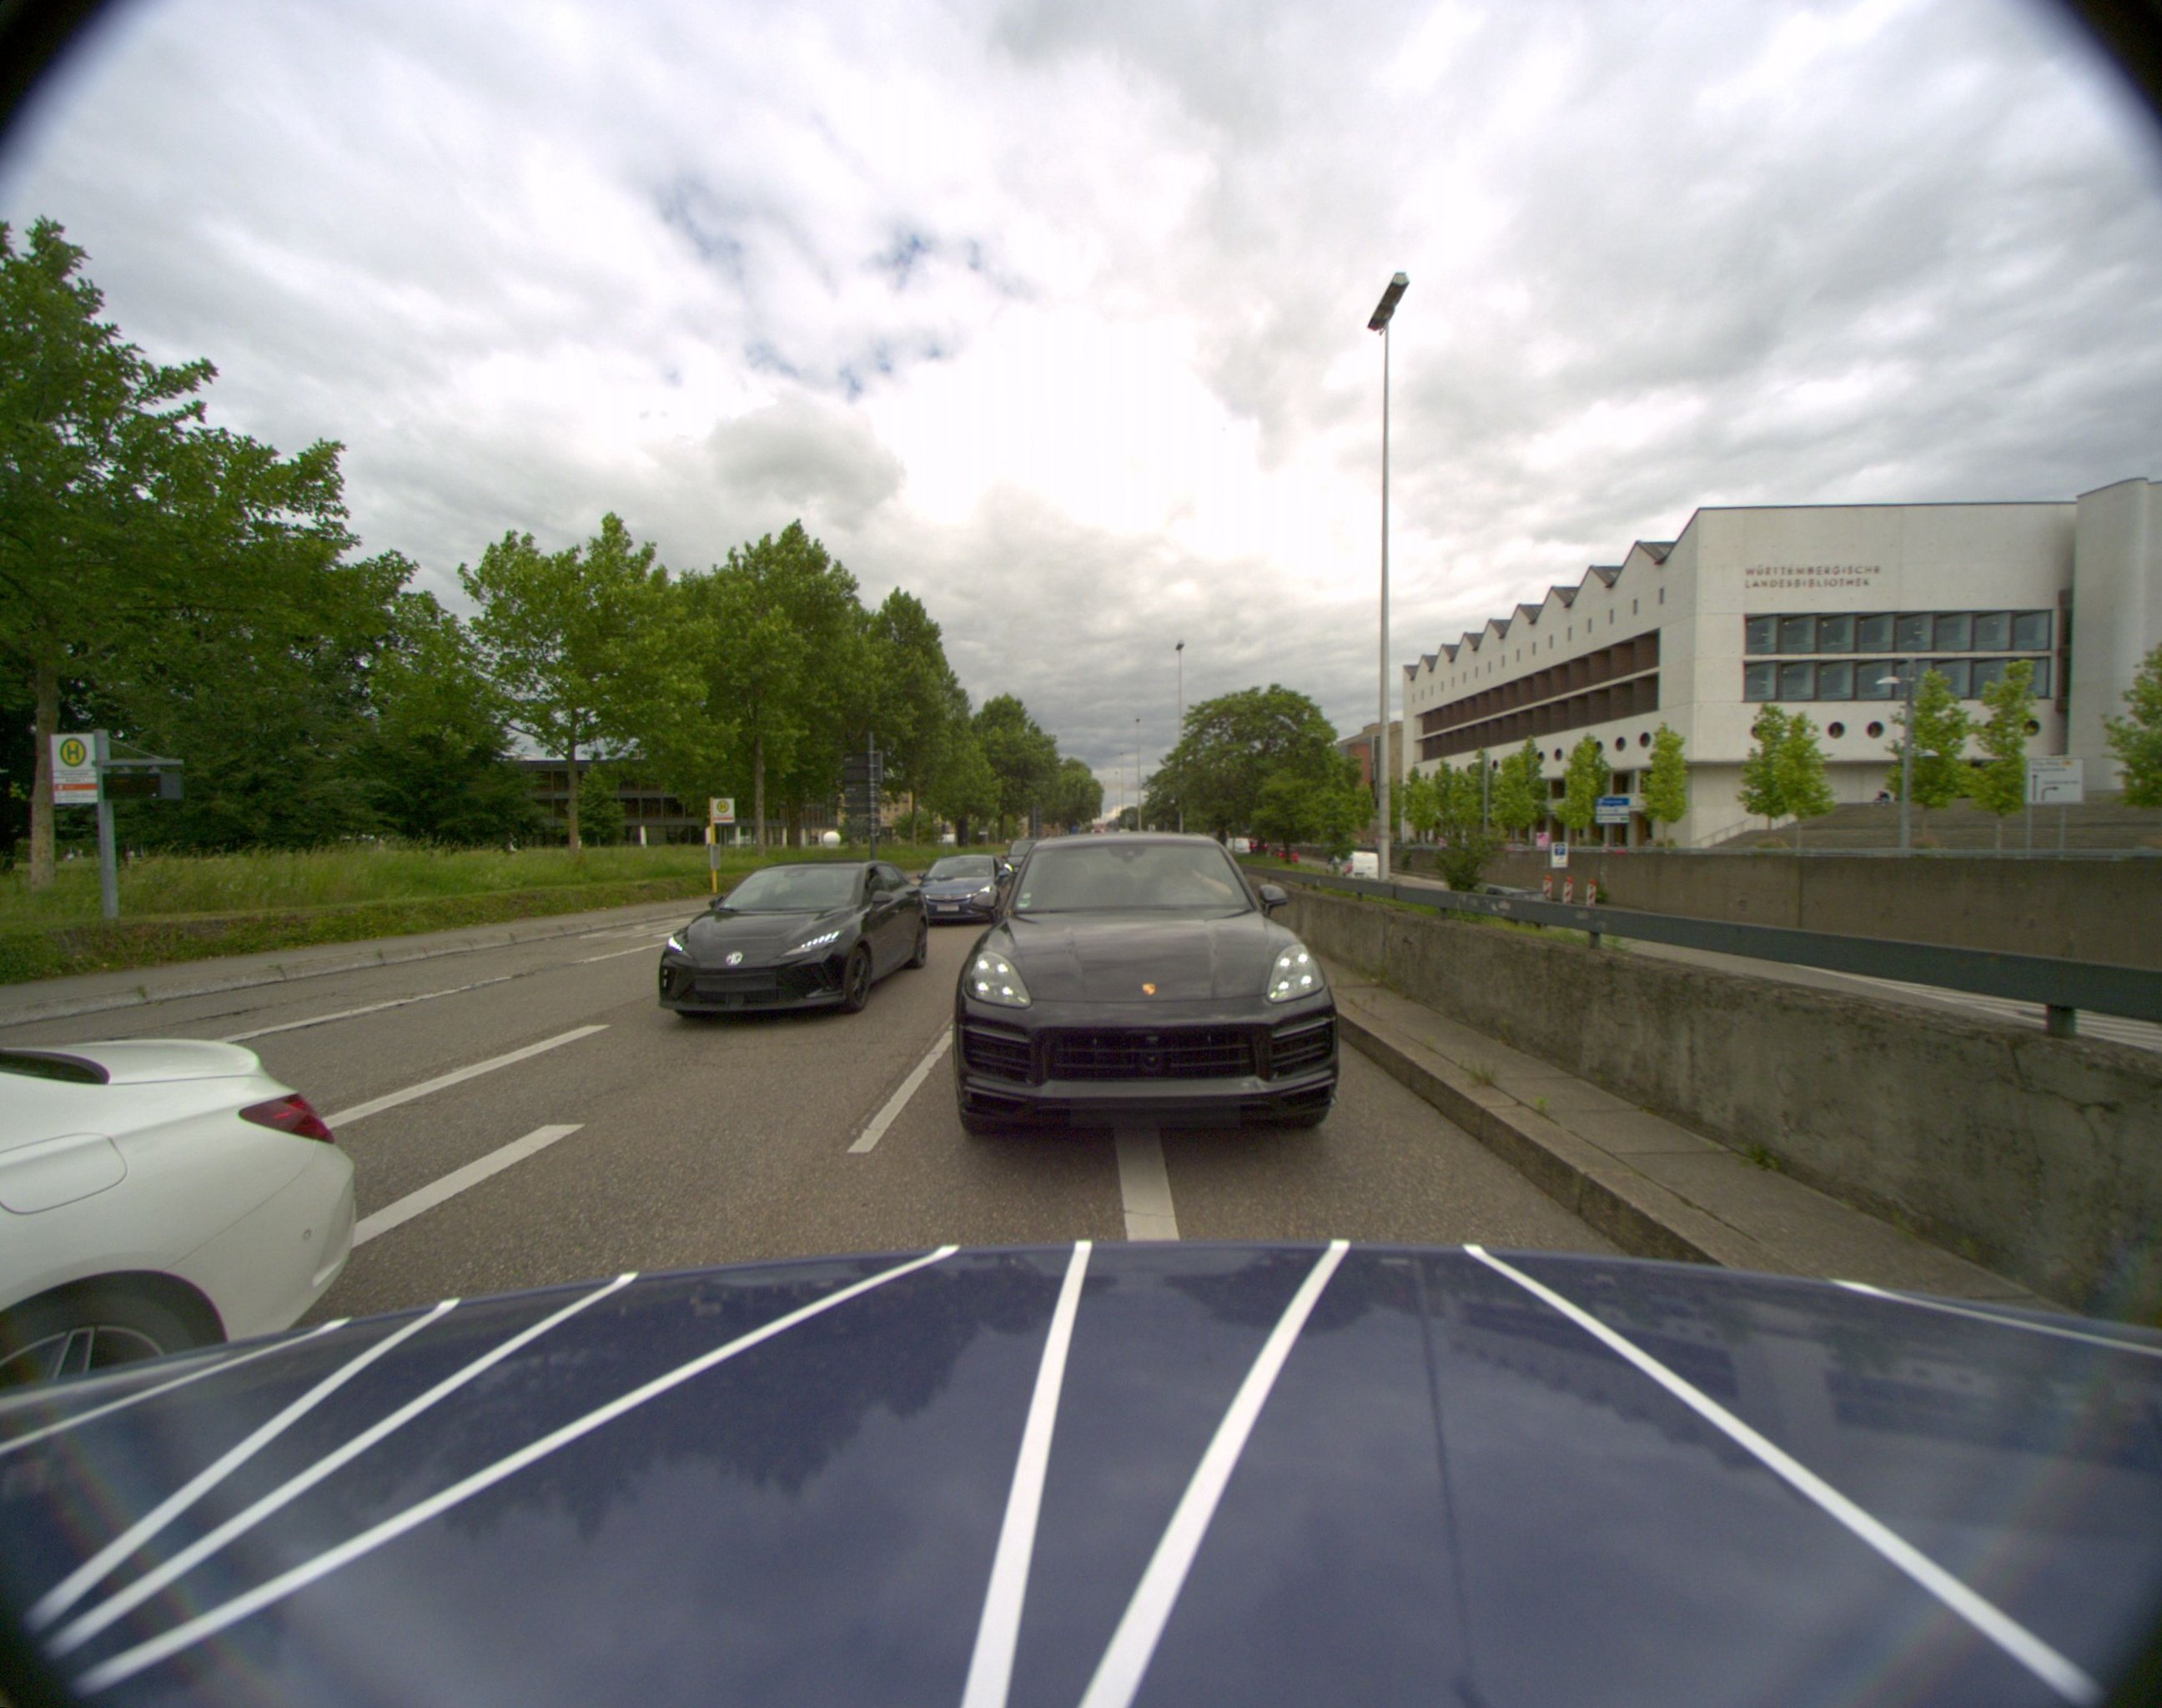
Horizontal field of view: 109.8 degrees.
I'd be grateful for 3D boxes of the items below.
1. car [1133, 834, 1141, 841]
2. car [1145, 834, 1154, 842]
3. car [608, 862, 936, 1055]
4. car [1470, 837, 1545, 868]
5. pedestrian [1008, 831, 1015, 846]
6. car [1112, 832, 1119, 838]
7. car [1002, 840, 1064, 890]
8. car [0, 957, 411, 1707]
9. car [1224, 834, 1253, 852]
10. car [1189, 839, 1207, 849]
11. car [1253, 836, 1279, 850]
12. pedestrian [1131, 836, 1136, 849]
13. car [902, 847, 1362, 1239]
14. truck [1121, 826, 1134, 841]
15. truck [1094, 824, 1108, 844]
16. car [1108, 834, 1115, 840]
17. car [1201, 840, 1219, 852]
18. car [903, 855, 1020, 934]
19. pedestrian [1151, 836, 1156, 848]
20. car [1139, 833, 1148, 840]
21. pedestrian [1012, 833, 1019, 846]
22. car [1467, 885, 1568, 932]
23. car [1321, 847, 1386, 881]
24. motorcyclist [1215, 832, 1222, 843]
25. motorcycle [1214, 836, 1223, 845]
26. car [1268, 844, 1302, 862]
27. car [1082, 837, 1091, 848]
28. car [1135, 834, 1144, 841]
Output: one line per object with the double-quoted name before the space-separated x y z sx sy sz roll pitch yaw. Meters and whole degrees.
"car" 11.479 -3.399 155.360 1.442 1.390 3.721 2 1 0
"car" 12.081 -2.793 134.180 1.372 1.390 3.721 2 1 0
"car" -3.029 0.920 8.529 1.852 1.481 4.092 -1 1 2
"car" 27.809 -0.112 49.770 2.180 1.844 4.735 -1 1 -1
"pedestrian" -10.011 -2.247 109.462 0.892 2.002 1.181 -3 2 2
"car" 10.535 -5.720 233.754 1.998 1.753 3.999 2 2 0
"car" -1.824 0.362 30.453 2.021 1.823 4.804 -1 1 2
"car" -3.184 1.104 0.218 1.799 1.412 4.526 -1 1 2
"car" 17.218 -1.228 83.322 1.999 1.630 5.246 5 3 -1
"car" 17.063 -1.527 110.674 1.998 1.390 3.999 2 1 0
"car" 21.391 -1.306 87.904 1.780 1.481 4.142 0 4 -2
"pedestrian" 8.848 -1.932 127.070 0.792 2.002 0.741 -1 0 2
"car" 0.340 0.792 5.567 1.904 1.581 4.732 -1 1 3
"truck" 11.258 -4.955 184.073 2.576 3.289 8.078 -3 2 2
"truck" 3.744 -3.844 142.534 2.357 3.518 9.423 -3 2 2
"car" 10.347 -5.845 259.427 1.998 1.753 3.999 2 2 0
"car" 17.471 -1.122 103.121 1.779 1.481 4.143 0 4 0
"car" -2.511 0.791 16.919 1.805 1.426 4.015 -1 1 2
"pedestrian" 11.961 -2.015 124.735 0.792 2.002 0.741 -1 0 2
"car" 11.623 -3.266 141.825 1.372 1.390 3.721 2 1 0
"pedestrian" -10.124 -2.238 118.109 0.892 2.002 1.181 -3 2 2
"car" 17.736 2.190 31.097 1.880 1.539 3.999 -1 1 1
"car" 17.523 0.594 49.094 2.224 2.002 5.114 -1 1 -2
"motorcyclist" 18.076 -2.140 99.782 0.671 1.345 0.717 3 4 0
"motorcycle" 18.056 -1.826 99.861 0.687 1.092 2.049 3 4 1
"car" 17.670 -0.084 65.958 1.998 1.477 4.000 -1 1 2
"car" 1.214 -2.365 157.170 1.693 2.002 3.999 -3 2 2
"car" 11.542 -3.253 150.216 1.372 1.389 3.722 -1 -1 -1
